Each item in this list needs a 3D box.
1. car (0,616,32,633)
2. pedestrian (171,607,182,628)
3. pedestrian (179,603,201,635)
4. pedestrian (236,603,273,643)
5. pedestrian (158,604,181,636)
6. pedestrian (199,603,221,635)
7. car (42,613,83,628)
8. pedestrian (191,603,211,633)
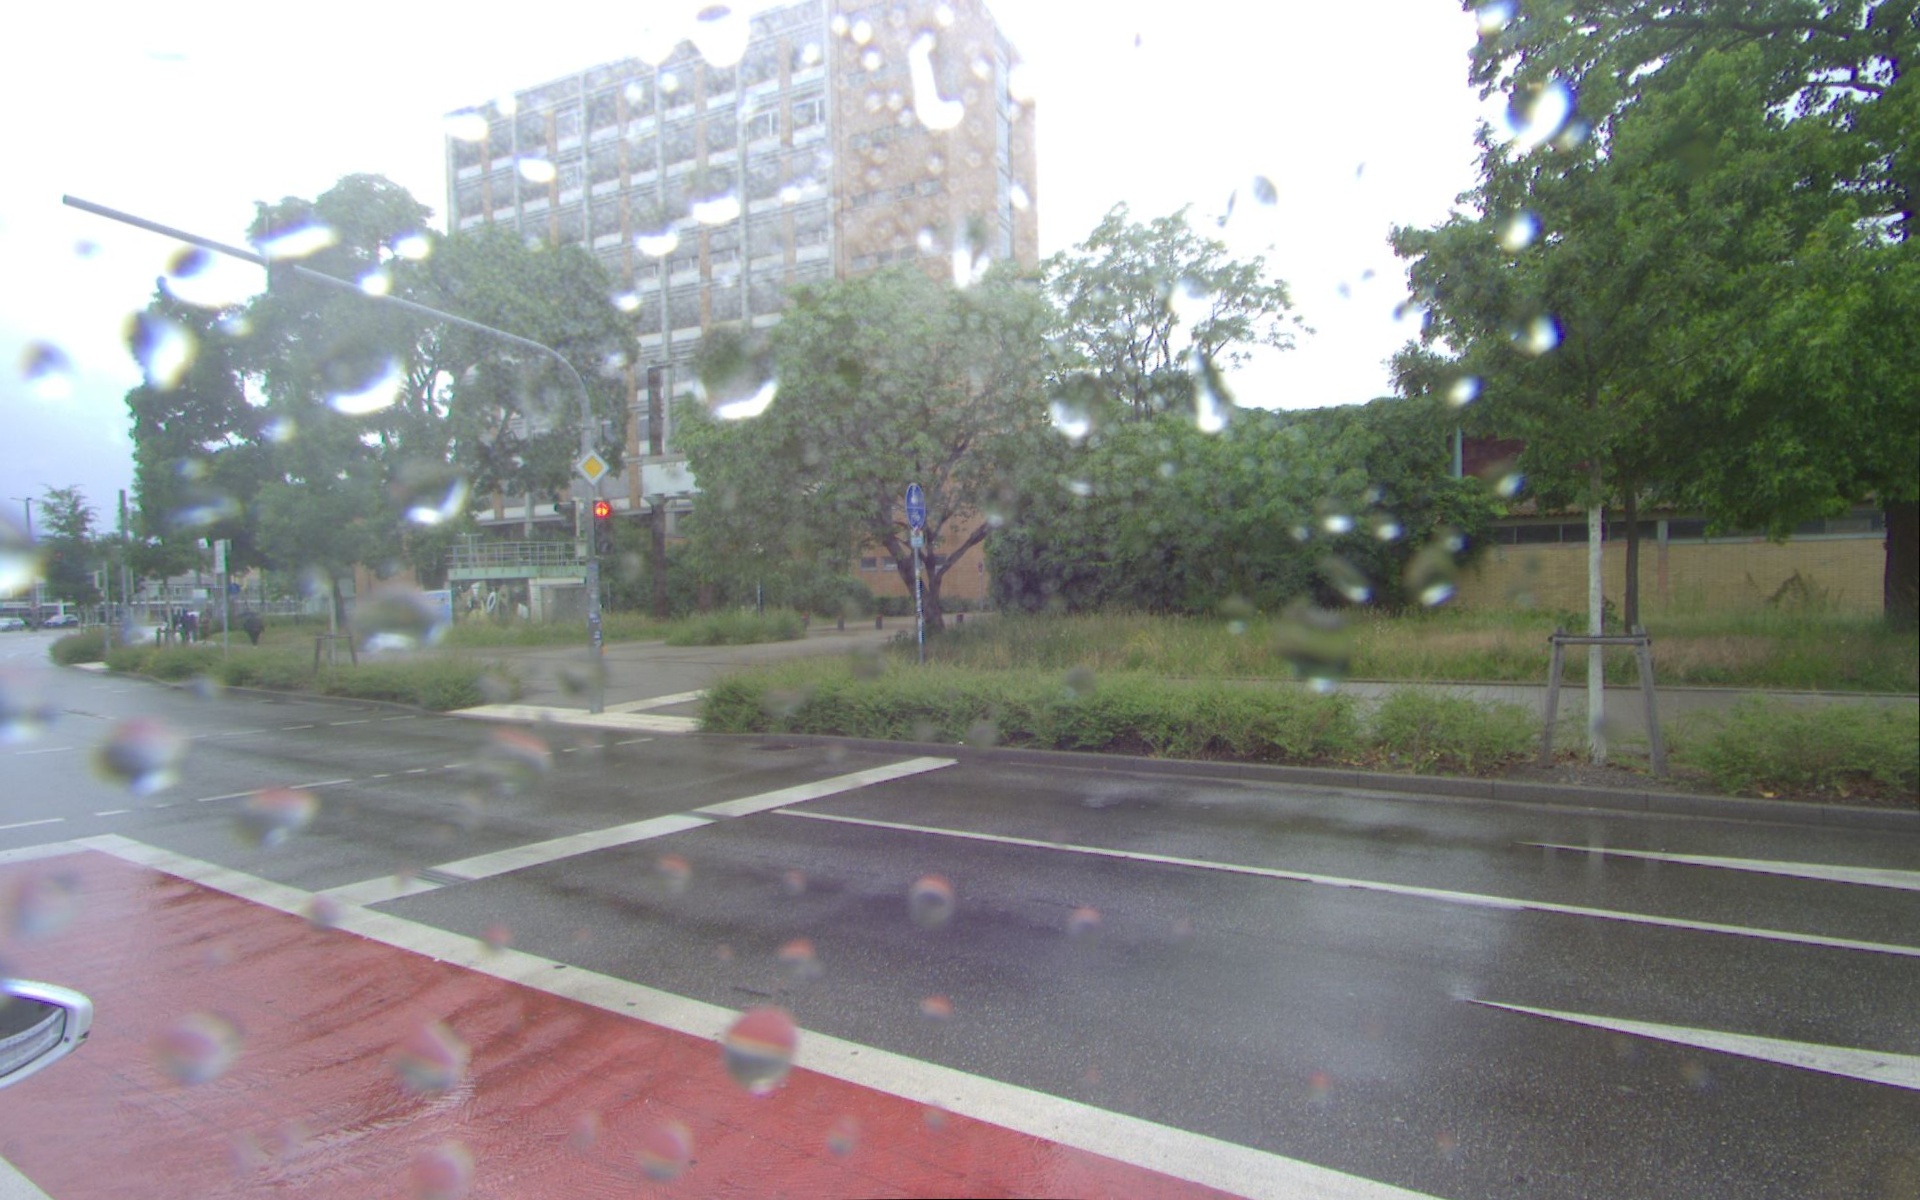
[{"bbox_3d":[-104.803,2.698,110.551,1.764,1.665,4.150,-1,0,-18],"label":"car"},{"bbox_3d":[-61.427,1.341,78.488,0.584,1.652,0.614,-2,1,-42],"label":"pedestrian"},{"bbox_3d":[-39.497,0.990,51.351,0.926,1.609,0.699,0,1,43],"label":"pedestrian"},{"bbox_3d":[-28.751,0.926,40.825,0.926,1.609,1.017,0,1,42],"label":"pedestrian"},{"bbox_3d":[-40.245,1.007,50.961,0.926,1.609,0.749,0,1,42],"label":"pedestrian"},{"bbox_3d":[-38.860,0.975,51.879,0.926,1.609,0.699,0,1,43],"label":"pedestrian"},{"bbox_3d":[-103.845,2.361,115.896,1.763,1.665,4.153,-1,0,-13],"label":"car"},{"bbox_3d":[-41.892,0.989,55.297,0.926,1.609,0.699,0,1,43],"label":"pedestrian"}]
